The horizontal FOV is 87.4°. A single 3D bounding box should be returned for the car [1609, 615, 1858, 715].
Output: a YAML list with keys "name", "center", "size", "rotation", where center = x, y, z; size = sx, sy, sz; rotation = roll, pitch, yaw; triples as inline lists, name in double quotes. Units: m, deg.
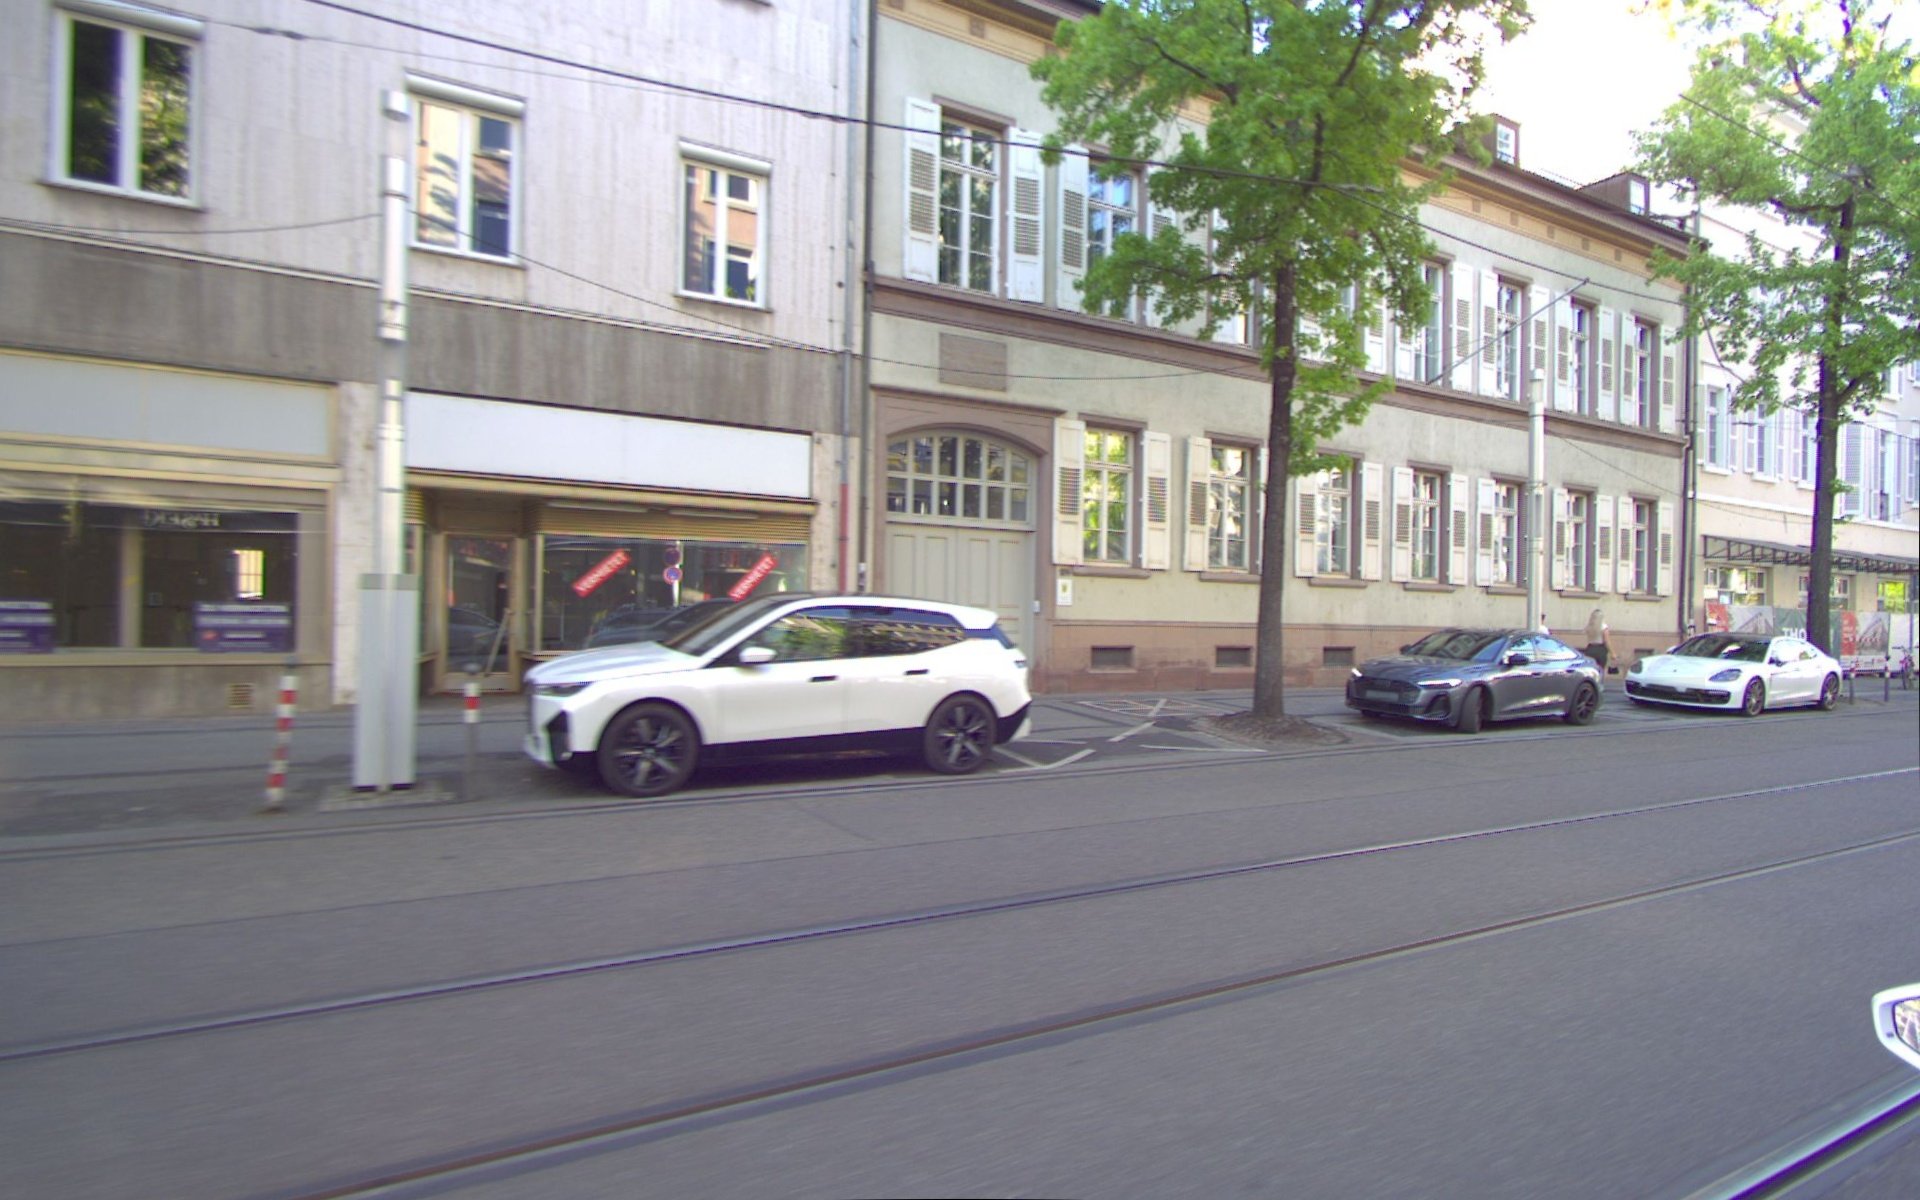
- name: "car"
  center: [14.836, 1.194, 19.227]
  size: [4.847, 1.662, 1.939]
  rotation: [2, 0, -28]

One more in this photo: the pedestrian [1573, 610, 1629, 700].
- name: "pedestrian"
  center: [12.815, 1.090, 20.086]
  size: [0.648, 1.743, 0.683]
  rotation: [1, 0, -29]

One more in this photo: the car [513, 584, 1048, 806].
- name: "car"
  center: [-1.688, 0.796, 9.831]
  size: [4.753, 1.662, 1.953]
  rotation: [2, 2, -29]

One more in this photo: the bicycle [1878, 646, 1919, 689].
- name: "bicycle"
  center: [24.527, 1.736, 26.140]
  size: [1.990, 1.064, 0.589]
  rotation: [2, -1, -37]

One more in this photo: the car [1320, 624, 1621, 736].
- name: "car"
  center: [7.934, 1.153, 15.472]
  size: [4.793, 1.431, 1.951]
  rotation: [2, -1, -32]

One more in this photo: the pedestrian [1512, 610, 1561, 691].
- name: "pedestrian"
  center: [12.400, 1.068, 21.613]
  size: [0.640, 1.702, 0.671]
  rotation: [1, -1, -29]
